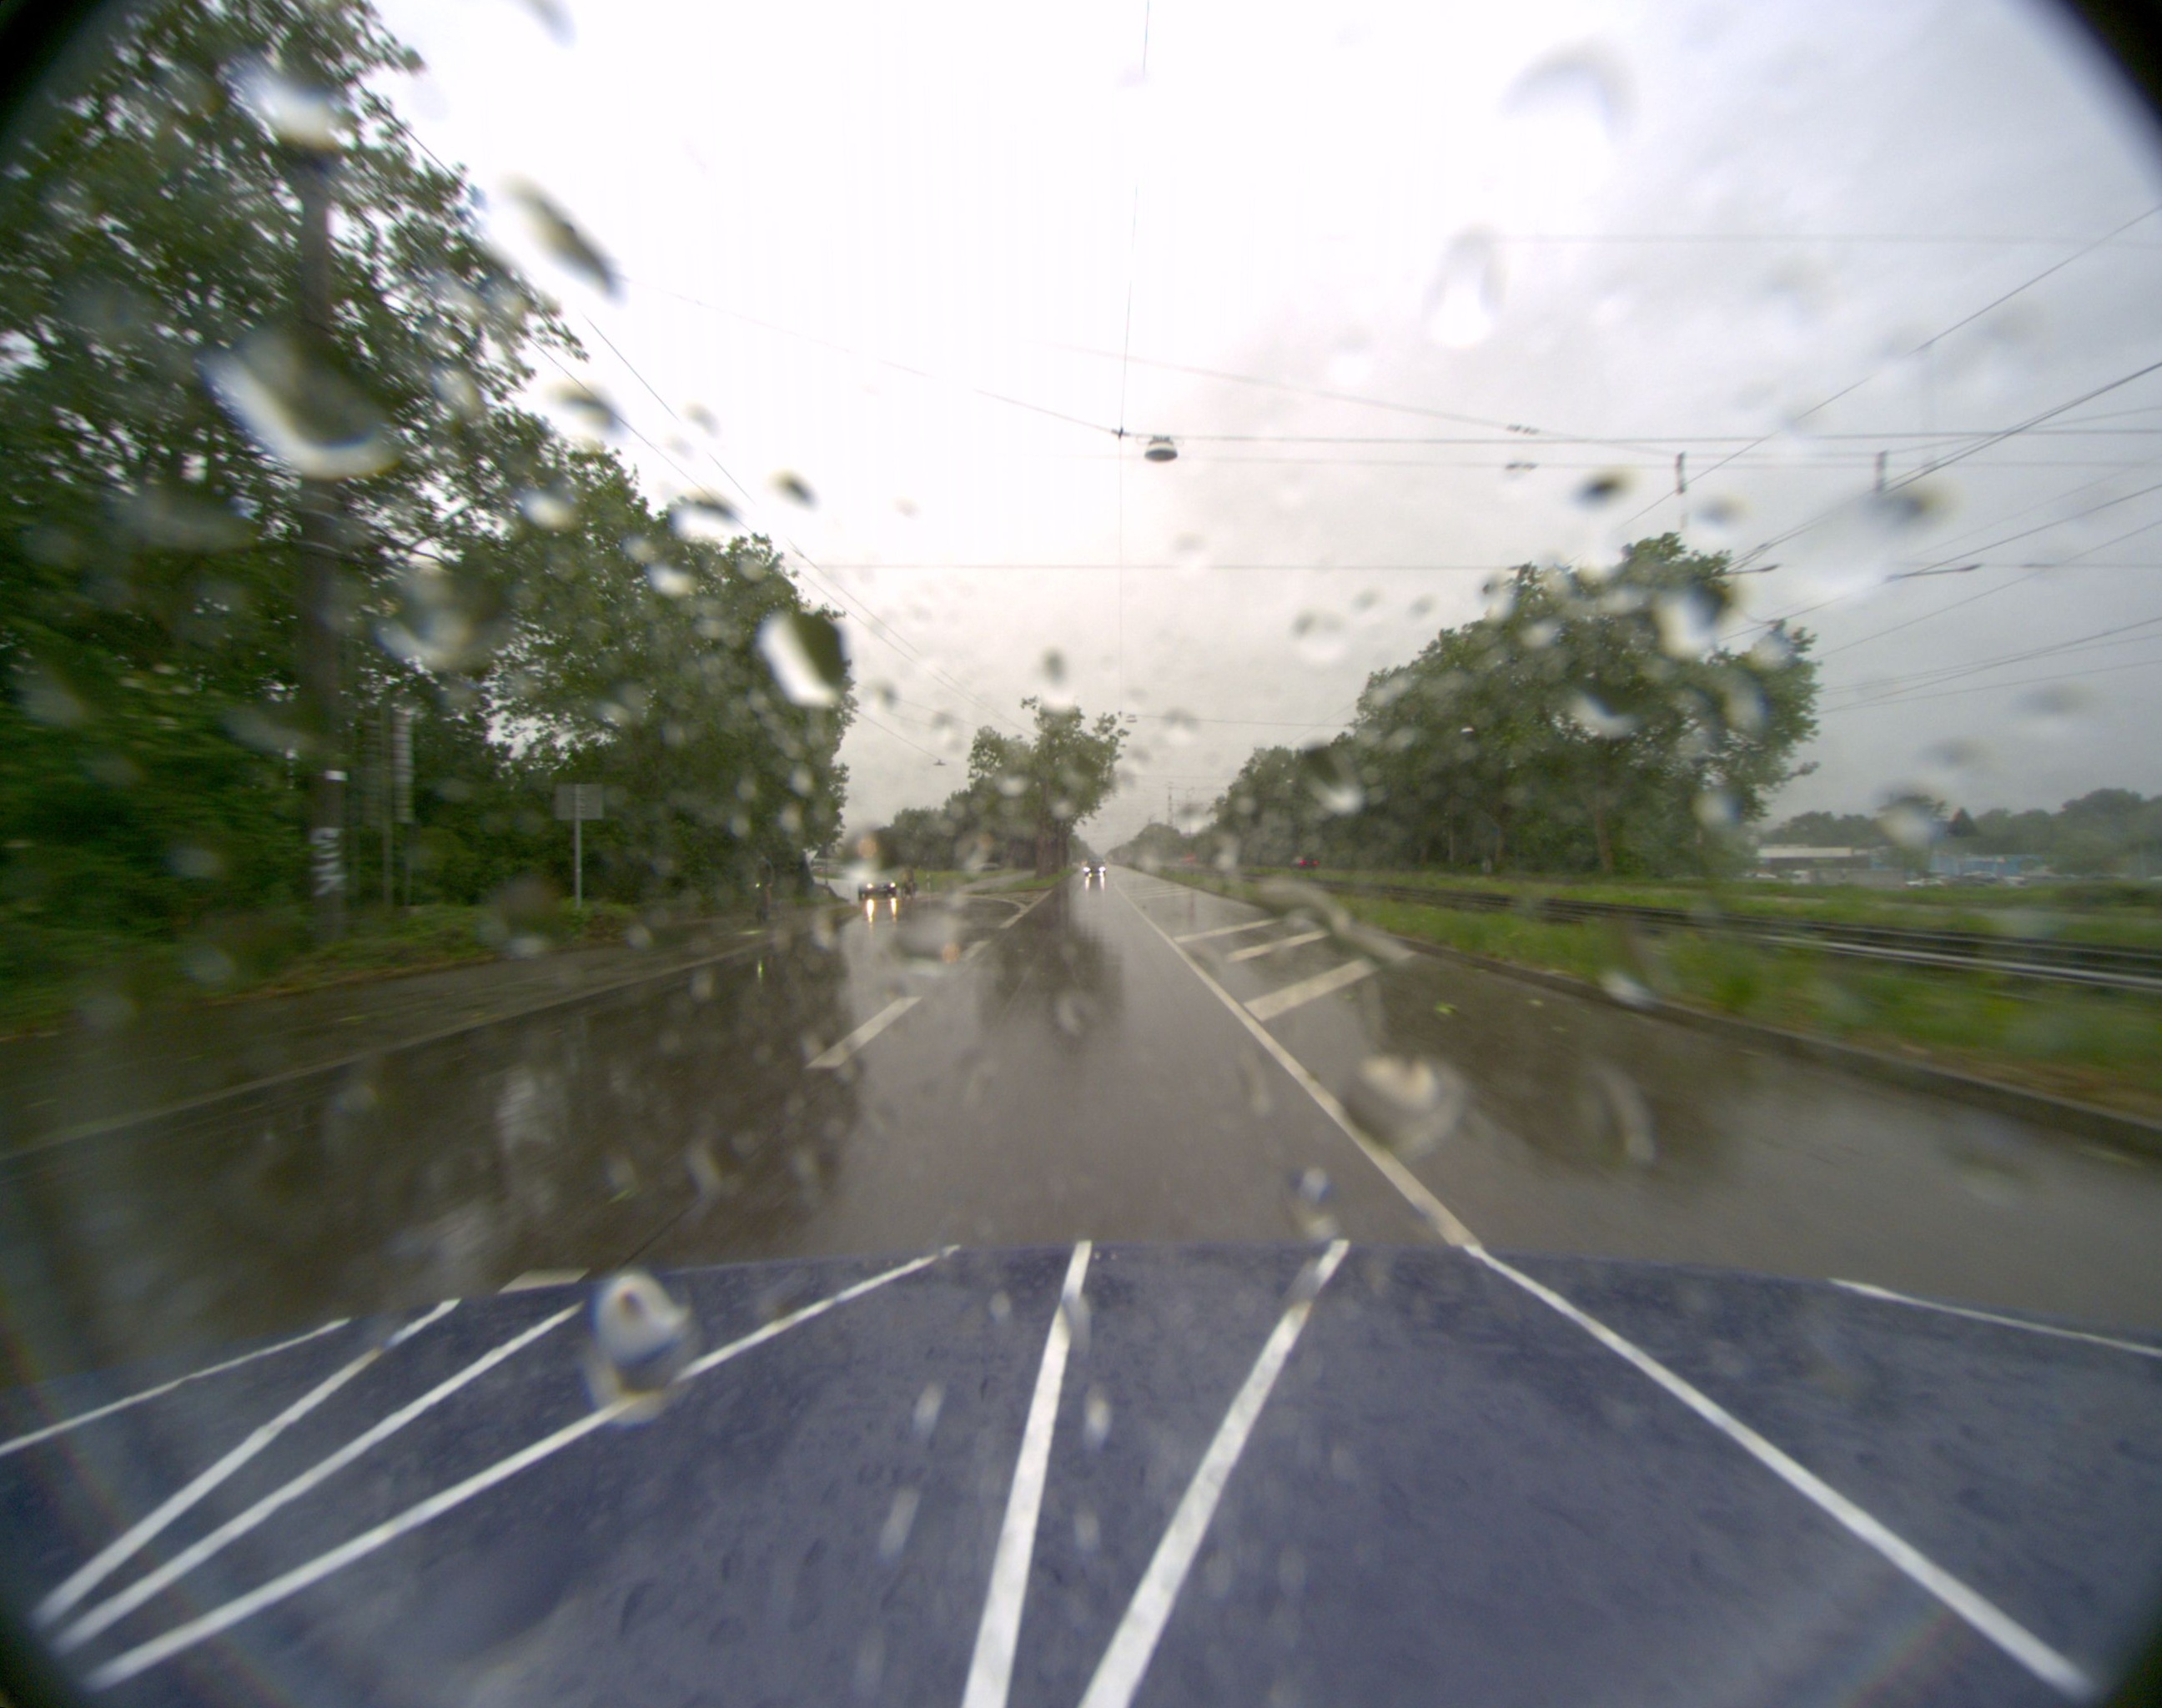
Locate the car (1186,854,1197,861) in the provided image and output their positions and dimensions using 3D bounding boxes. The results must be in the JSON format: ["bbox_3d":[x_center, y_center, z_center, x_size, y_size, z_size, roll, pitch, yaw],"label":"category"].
[{"bbox_3d":[21.813,0.655,150.311,1.686,1.398,3.939,-1,0,0],"label":"car"}]

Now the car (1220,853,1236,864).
[{"bbox_3d":[22.959,0.660,118.468,1.655,1.559,4.047,-1,0,0],"label":"car"}]

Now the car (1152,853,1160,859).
[{"bbox_3d":[20.108,0.518,204.642,1.695,1.514,4.955,-1,0,-1],"label":"car"}]

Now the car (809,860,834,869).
[{"bbox_3d":[-41.144,1.600,120.313,3.988,1.412,1.756,0,0,35],"label":"car"}]

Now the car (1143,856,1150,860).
[{"bbox_3d":[20.448,1.270,236.539,1.776,1.322,4.380,-1,0,0],"label":"car"}]

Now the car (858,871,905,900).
[{"bbox_3d":[-11.859,1.821,44.926,1.871,1.527,4.507,-1,0,-25],"label":"car"}]

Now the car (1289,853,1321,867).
[{"bbox_3d":[24.141,0.630,81.960,2.217,1.519,4.279,-1,0,1],"label":"car"}]

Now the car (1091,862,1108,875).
[{"bbox_3d":[2.186,1.704,89.622,1.971,1.412,4.000,-1,0,1],"label":"car"}]
